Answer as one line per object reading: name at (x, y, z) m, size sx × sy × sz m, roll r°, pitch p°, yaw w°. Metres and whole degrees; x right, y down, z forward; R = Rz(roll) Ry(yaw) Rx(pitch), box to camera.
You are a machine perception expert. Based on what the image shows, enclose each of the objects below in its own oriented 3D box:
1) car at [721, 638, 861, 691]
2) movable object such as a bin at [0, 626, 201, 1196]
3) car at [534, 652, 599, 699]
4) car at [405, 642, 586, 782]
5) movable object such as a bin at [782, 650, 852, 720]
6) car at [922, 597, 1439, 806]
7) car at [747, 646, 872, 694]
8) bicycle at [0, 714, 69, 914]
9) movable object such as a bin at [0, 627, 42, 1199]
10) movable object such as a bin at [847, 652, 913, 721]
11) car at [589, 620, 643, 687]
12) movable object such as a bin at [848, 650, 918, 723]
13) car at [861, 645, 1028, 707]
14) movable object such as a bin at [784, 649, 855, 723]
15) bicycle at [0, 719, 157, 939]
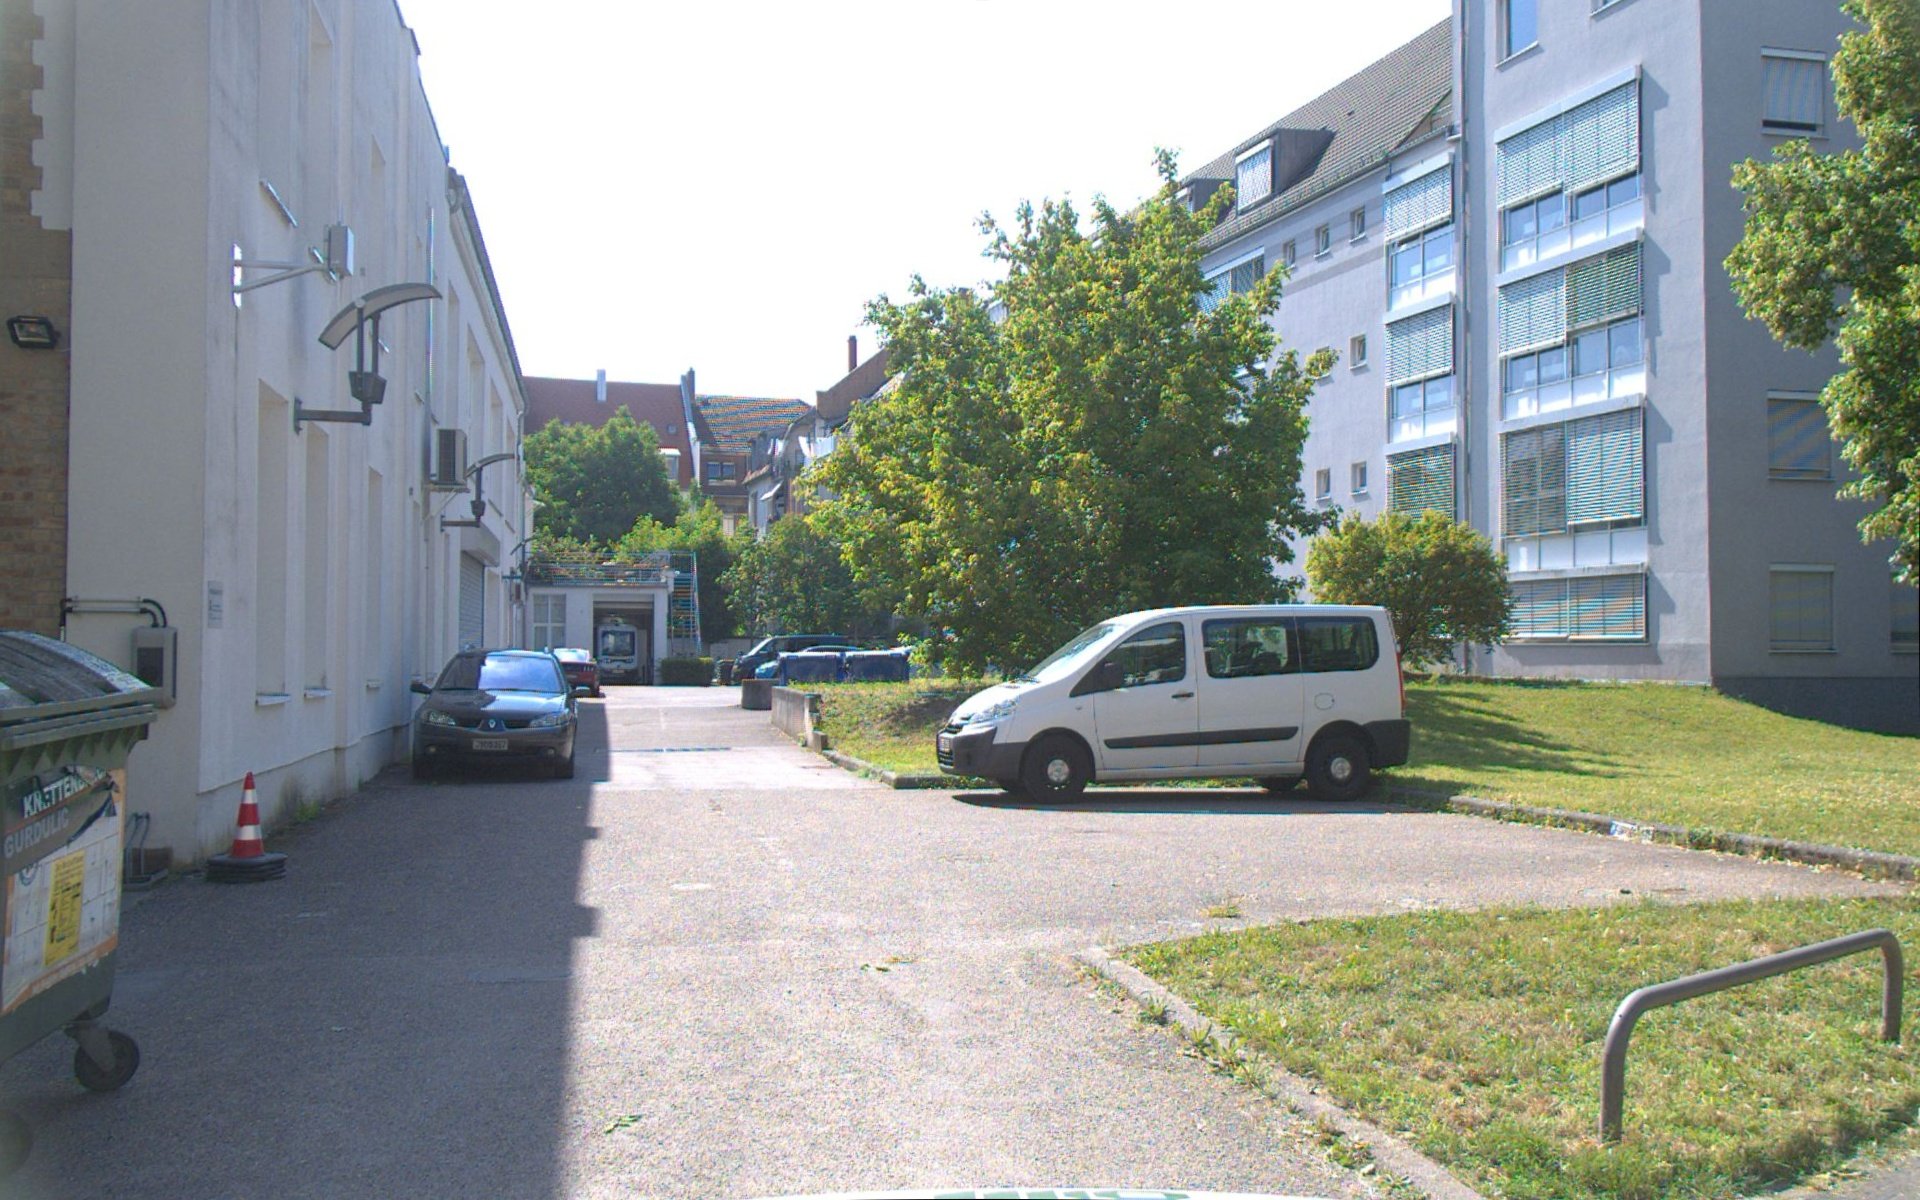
car at (-6.377, 2.409, 62.432) m, size 4.889 × 1.798 × 2.079 m, roll -1°, pitch -1°, yaw -26°
movable object such as a bin at (-3.019, 0.813, 4.797) m, size 1.223 × 1.456 × 1.345 m, roll 0°, pitch -2°, yaw -13°
car at (-12.034, 2.298, 50.626) m, size 1.820 × 1.343 × 3.986 m, roll 2°, pitch -2°, yaw -13°
car at (-5.423, 1.324, 19.753) m, size 1.805 × 1.467 × 4.414 m, roll 2°, pitch -4°, yaw -13°
movable object such as a bin at (-2.926, 1.721, 33.719) m, size 1.227 × 1.379 × 1.124 m, roll 0°, pitch -2°, yaw -16°
car at (2.204, 0.992, 17.105) m, size 4.935 × 1.967 × 1.994 m, roll 0°, pitch -2°, yaw -12°
car at (-5.408, 2.489, 59.325) m, size 4.161 × 1.559 × 1.991 m, roll -1°, pitch -1°, yaw -16°
bicycle at (-5.362, 1.172, 8.965) m, size 0.436 × 1.010 × 1.626 m, roll -1°, pitch -1°, yaw -10°
movable object such as a bin at (-2.739, 0.780, 3.316) m, size 1.223 × 1.456 × 1.361 m, roll 0°, pitch -2°, yaw -13°
movable object such as a bin at (-1.660, 1.763, 34.049) m, size 1.136 × 1.360 × 1.137 m, roll 0°, pitch -2°, yaw -16°
car at (-14.631, 2.289, 70.318) m, size 2.136 × 2.653 × 6.712 m, roll -1°, pitch -2°, yaw -12°
movable object such as a bin at (-1.516, 1.677, 32.297) m, size 1.224 × 1.364 × 1.139 m, roll 0°, pitch -2°, yaw -10°
car at (-0.417, 1.911, 42.098) m, size 3.922 × 1.452 × 1.804 m, roll -1°, pitch -2°, yaw -16°
movable object such as a bin at (-2.713, 1.658, 31.821) m, size 1.225 × 1.342 × 1.139 m, roll -2°, pitch -3°, yaw -11°
bicycle at (-4.908, 1.215, 9.127) m, size 0.436 × 1.010 × 1.537 m, roll -1°, pitch -1°, yaw -10°
